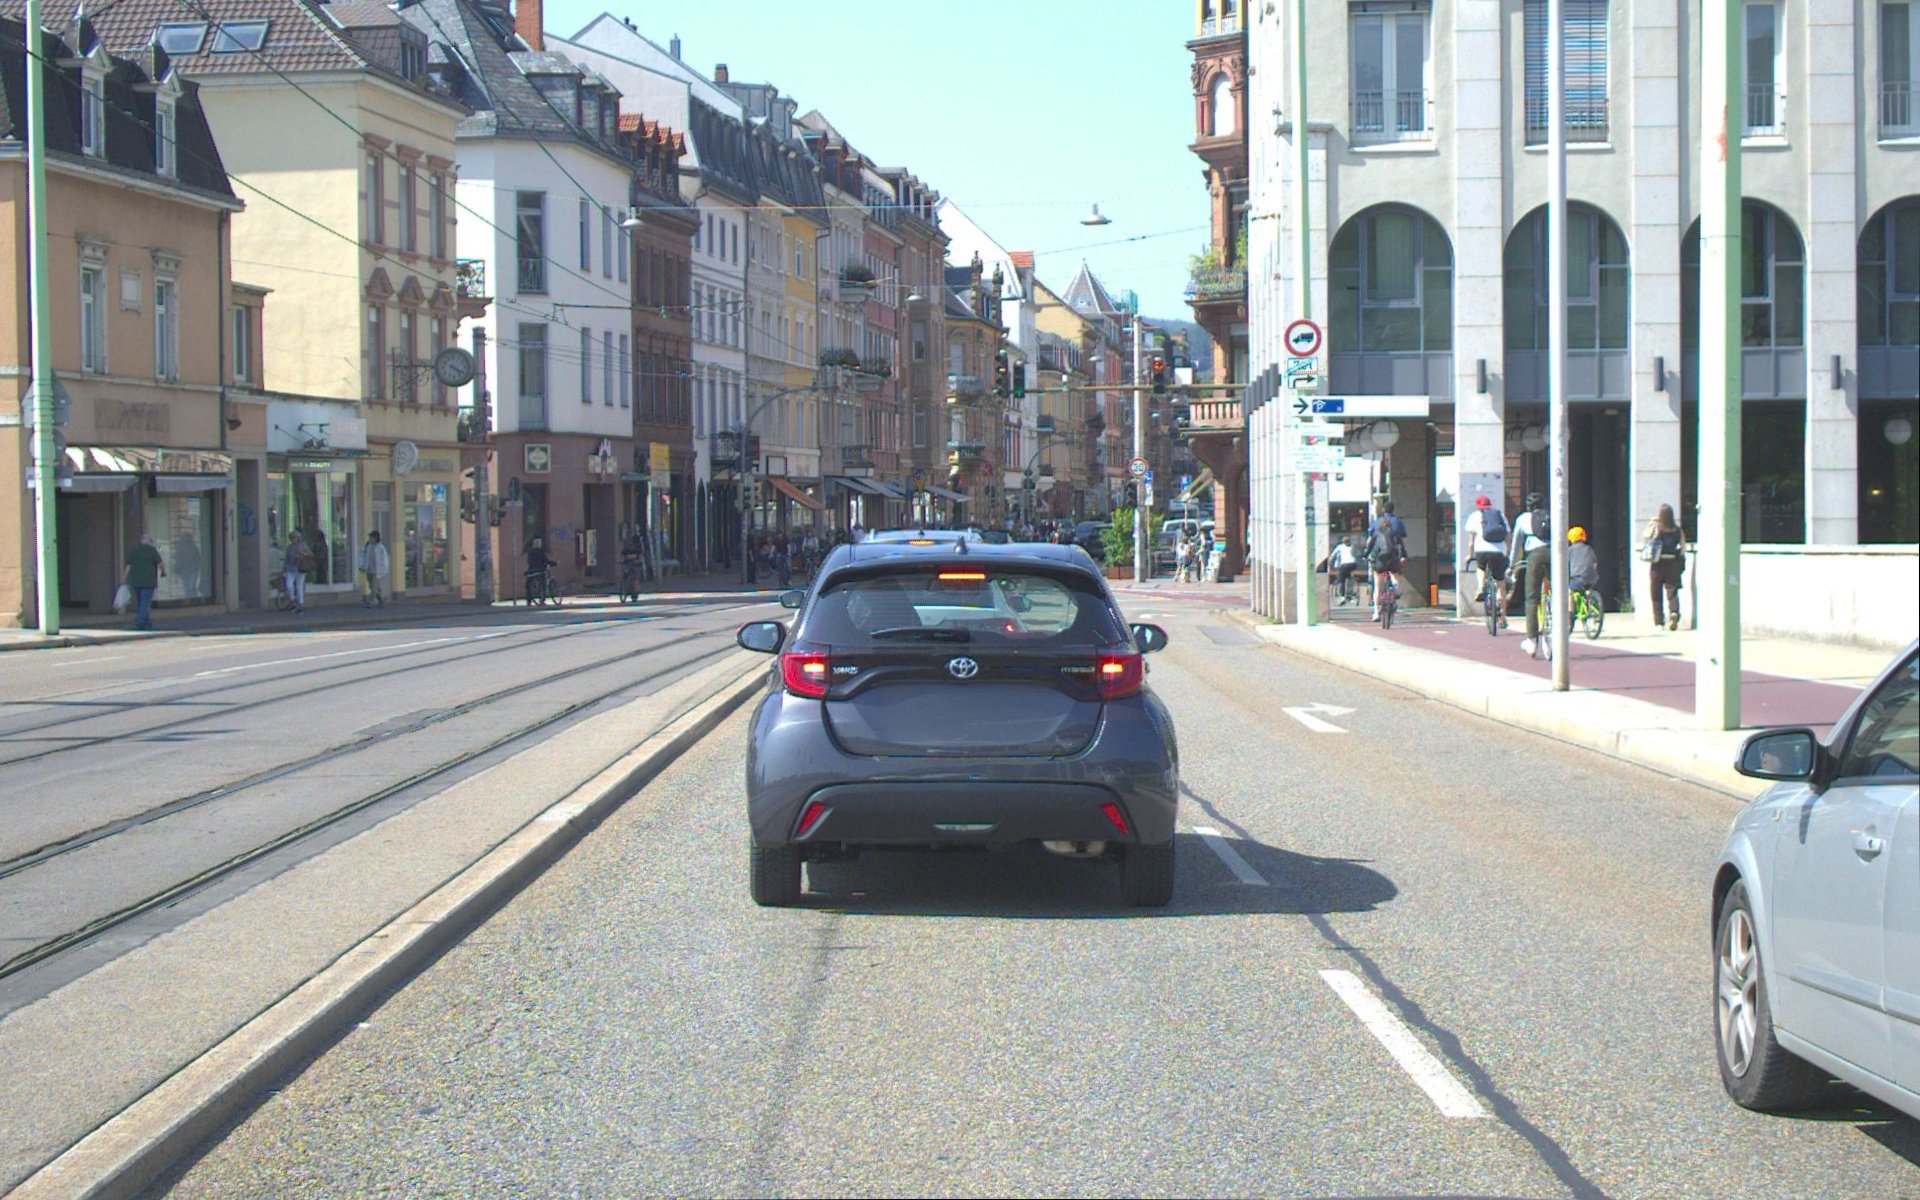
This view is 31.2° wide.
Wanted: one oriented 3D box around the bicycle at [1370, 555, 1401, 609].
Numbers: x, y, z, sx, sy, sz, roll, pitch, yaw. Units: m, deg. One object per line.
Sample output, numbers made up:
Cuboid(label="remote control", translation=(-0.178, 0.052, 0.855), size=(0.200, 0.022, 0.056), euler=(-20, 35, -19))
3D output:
Cuboid(label="bicycle", translation=(6.230, -0.270, 50.353), size=(0.416, 0.763, 1.205), euler=(-2, 1, 7))

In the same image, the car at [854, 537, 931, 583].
Cuboid(label="car", translation=(-2.175, -1.304, 111.790), size=(1.732, 1.455, 4.372), euler=(0, 1, 10))

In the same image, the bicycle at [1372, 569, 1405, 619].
Cuboid(label="bicycle", translation=(6.718, -0.096, 53.928), size=(0.416, 0.763, 0.962), euler=(-2, 1, 3))

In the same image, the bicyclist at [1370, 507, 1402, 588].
Cuboid(label="bicyclist", translation=(6.681, -0.824, 53.953), size=(0.422, 1.252, 0.443), euler=(-2, 1, 3))

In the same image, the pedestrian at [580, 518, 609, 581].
Cuboid(label="pedestrian", translation=(-10.464, -1.447, 98.315), size=(0.736, 1.760, 0.787), euler=(0, 2, 0))

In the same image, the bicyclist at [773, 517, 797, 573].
Cuboid(label="bicyclist", translation=(-5.196, -1.642, 102.218), size=(0.627, 1.644, 0.622), euler=(1, 2, 1))

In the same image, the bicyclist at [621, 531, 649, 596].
Cuboid(label="bicyclist", translation=(-8.388, -0.952, 88.696), size=(0.627, 1.644, 0.622), euler=(1, 2, 1))

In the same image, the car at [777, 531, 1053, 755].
Cuboid(label="car", translation=(-0.333, 0.259, 25.902), size=(1.897, 1.525, 4.000), euler=(1, 1, -1))

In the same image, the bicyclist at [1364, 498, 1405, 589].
Cuboid(label="bicyclist", translation=(6.202, -0.831, 50.288), size=(0.538, 1.312, 0.671), euler=(-2, 1, 6))

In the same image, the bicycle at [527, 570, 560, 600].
Cuboid(label="bicycle", translation=(-10.581, -0.386, 87.383), size=(0.620, 0.713, 1.771), euler=(1, 2, 0))

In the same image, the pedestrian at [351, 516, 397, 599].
Cuboid(label="pedestrian", translation=(-12.836, -0.933, 75.323), size=(0.736, 1.760, 0.787), euler=(4, 1, 0))

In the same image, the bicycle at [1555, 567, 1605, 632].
Cuboid(label="bicycle", translation=(7.577, -0.013, 42.029), size=(0.416, 0.763, 0.962), euler=(-2, 1, 0))

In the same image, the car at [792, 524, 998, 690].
Cuboid(label="car", translation=(-0.624, 0.024, 34.089), size=(1.897, 1.525, 4.000), euler=(1, 1, -1))

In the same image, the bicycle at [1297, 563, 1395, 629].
Cuboid(label="bicycle", translation=(9.296, -0.103, 82.883), size=(1.111, 1.415, 3.008), euler=(4, 1, -18))

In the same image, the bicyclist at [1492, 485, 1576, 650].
Cuboid(label="bicyclist", translation=(6.025, -0.347, 36.131), size=(0.701, 1.689, 0.924), euler=(-1, 1, 0))

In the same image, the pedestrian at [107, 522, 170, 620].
Cuboid(label="pedestrian", translation=(-14.274, -0.506, 59.731), size=(0.762, 1.648, 0.711), euler=(4, 1, 6))

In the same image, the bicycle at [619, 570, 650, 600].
Cuboid(label="bicycle", translation=(-8.398, -0.400, 88.728), size=(0.620, 0.713, 1.771), euler=(1, 2, 0))

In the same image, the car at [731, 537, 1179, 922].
Cuboid(label="car", translation=(-0.035, 0.471, 15.203), size=(1.720, 1.468, 3.658), euler=(1, 1, -1))

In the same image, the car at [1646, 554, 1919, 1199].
Cuboid(label="car", translation=(2.815, 0.658, 7.510), size=(1.705, 1.461, 4.326), euler=(1, 1, -1))

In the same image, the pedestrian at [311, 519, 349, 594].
Cuboid(label="pedestrian", translation=(-13.963, -0.959, 76.229), size=(0.649, 1.596, 0.566), euler=(4, 3, 0))

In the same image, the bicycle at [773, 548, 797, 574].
Cuboid(label="bicycle", translation=(-5.209, -1.159, 102.312), size=(0.620, 0.713, 1.731), euler=(1, 2, 0))

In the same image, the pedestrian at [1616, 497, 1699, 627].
Cuboid(label="pedestrian", translation=(9.017, -0.491, 44.460), size=(0.739, 1.609, 1.016), euler=(4, 1, -1))

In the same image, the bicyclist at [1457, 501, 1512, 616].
Cuboid(label="bicyclist", translation=(6.782, -0.536, 44.453), size=(0.484, 1.461, 0.443), euler=(-3, 1, -39))

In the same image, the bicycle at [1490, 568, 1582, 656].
Cuboid(label="bicycle", translation=(6.048, 0.118, 36.155), size=(0.704, 0.879, 1.525), euler=(-1, 1, 1))

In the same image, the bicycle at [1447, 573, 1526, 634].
Cuboid(label="bicycle", translation=(6.803, 0.042, 44.464), size=(0.416, 0.763, 0.961), euler=(-3, 1, -39))

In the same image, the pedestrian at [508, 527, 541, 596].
Cuboid(label="pedestrian", translation=(-11.112, -0.987, 87.775), size=(0.736, 1.760, 0.787), euler=(0, 2, 0))

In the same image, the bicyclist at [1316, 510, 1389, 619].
Cuboid(label="bicyclist", translation=(9.450, -0.865, 82.811), size=(1.227, 2.520, 1.105), euler=(3, 1, -18))

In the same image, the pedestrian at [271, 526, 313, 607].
Cuboid(label="pedestrian", translation=(-13.692, -0.690, 70.476), size=(0.649, 1.596, 0.566), euler=(4, 3, 0))

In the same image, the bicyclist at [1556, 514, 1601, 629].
Cuboid(label="bicyclist", translation=(7.565, -0.353, 42.048), size=(0.422, 1.378, 0.443), euler=(-2, 1, 0))
